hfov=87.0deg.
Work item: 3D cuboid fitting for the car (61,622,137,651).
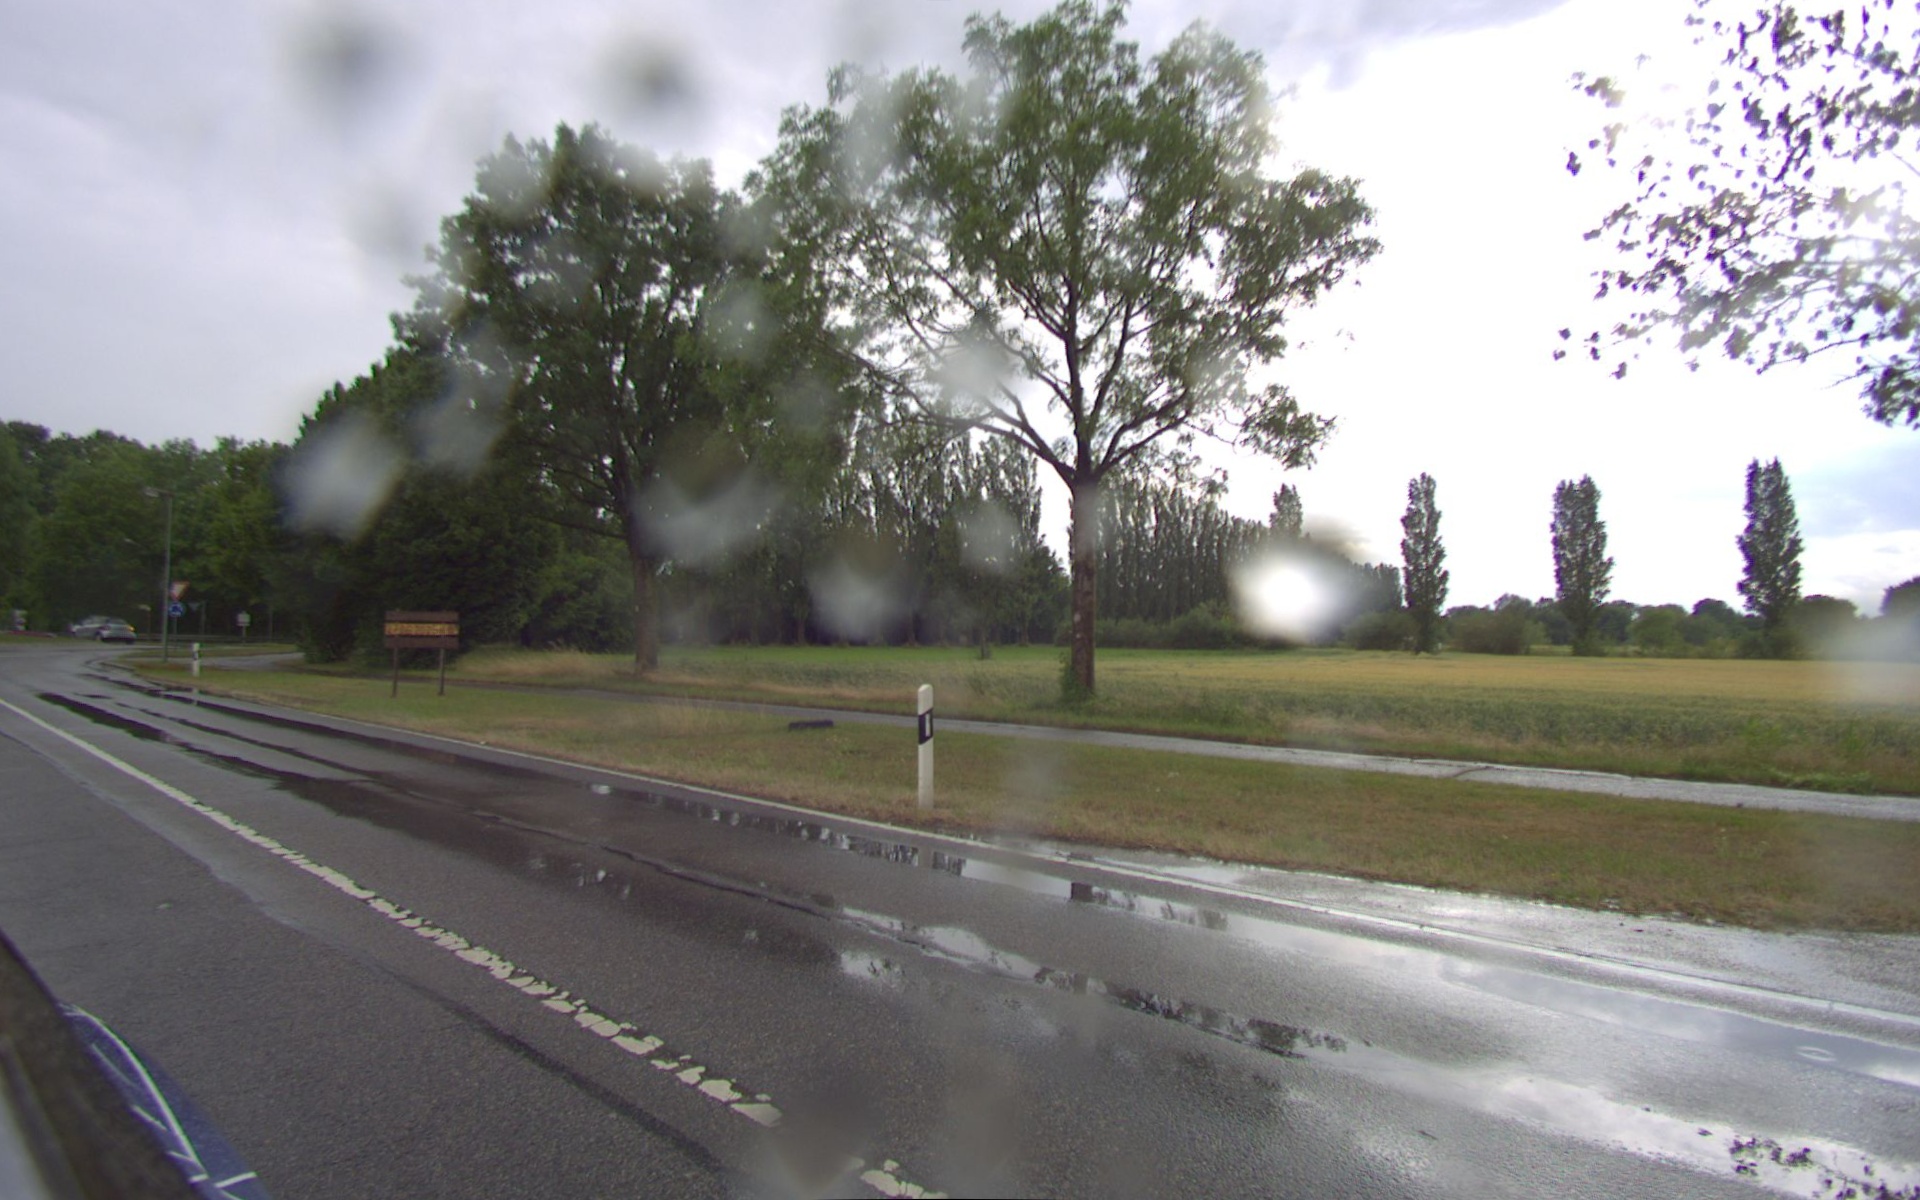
[{"bbox_3d":[-47.081,1.991,55.347,3.711,1.510,1.668,0,-3,24],"label":"car"}]
